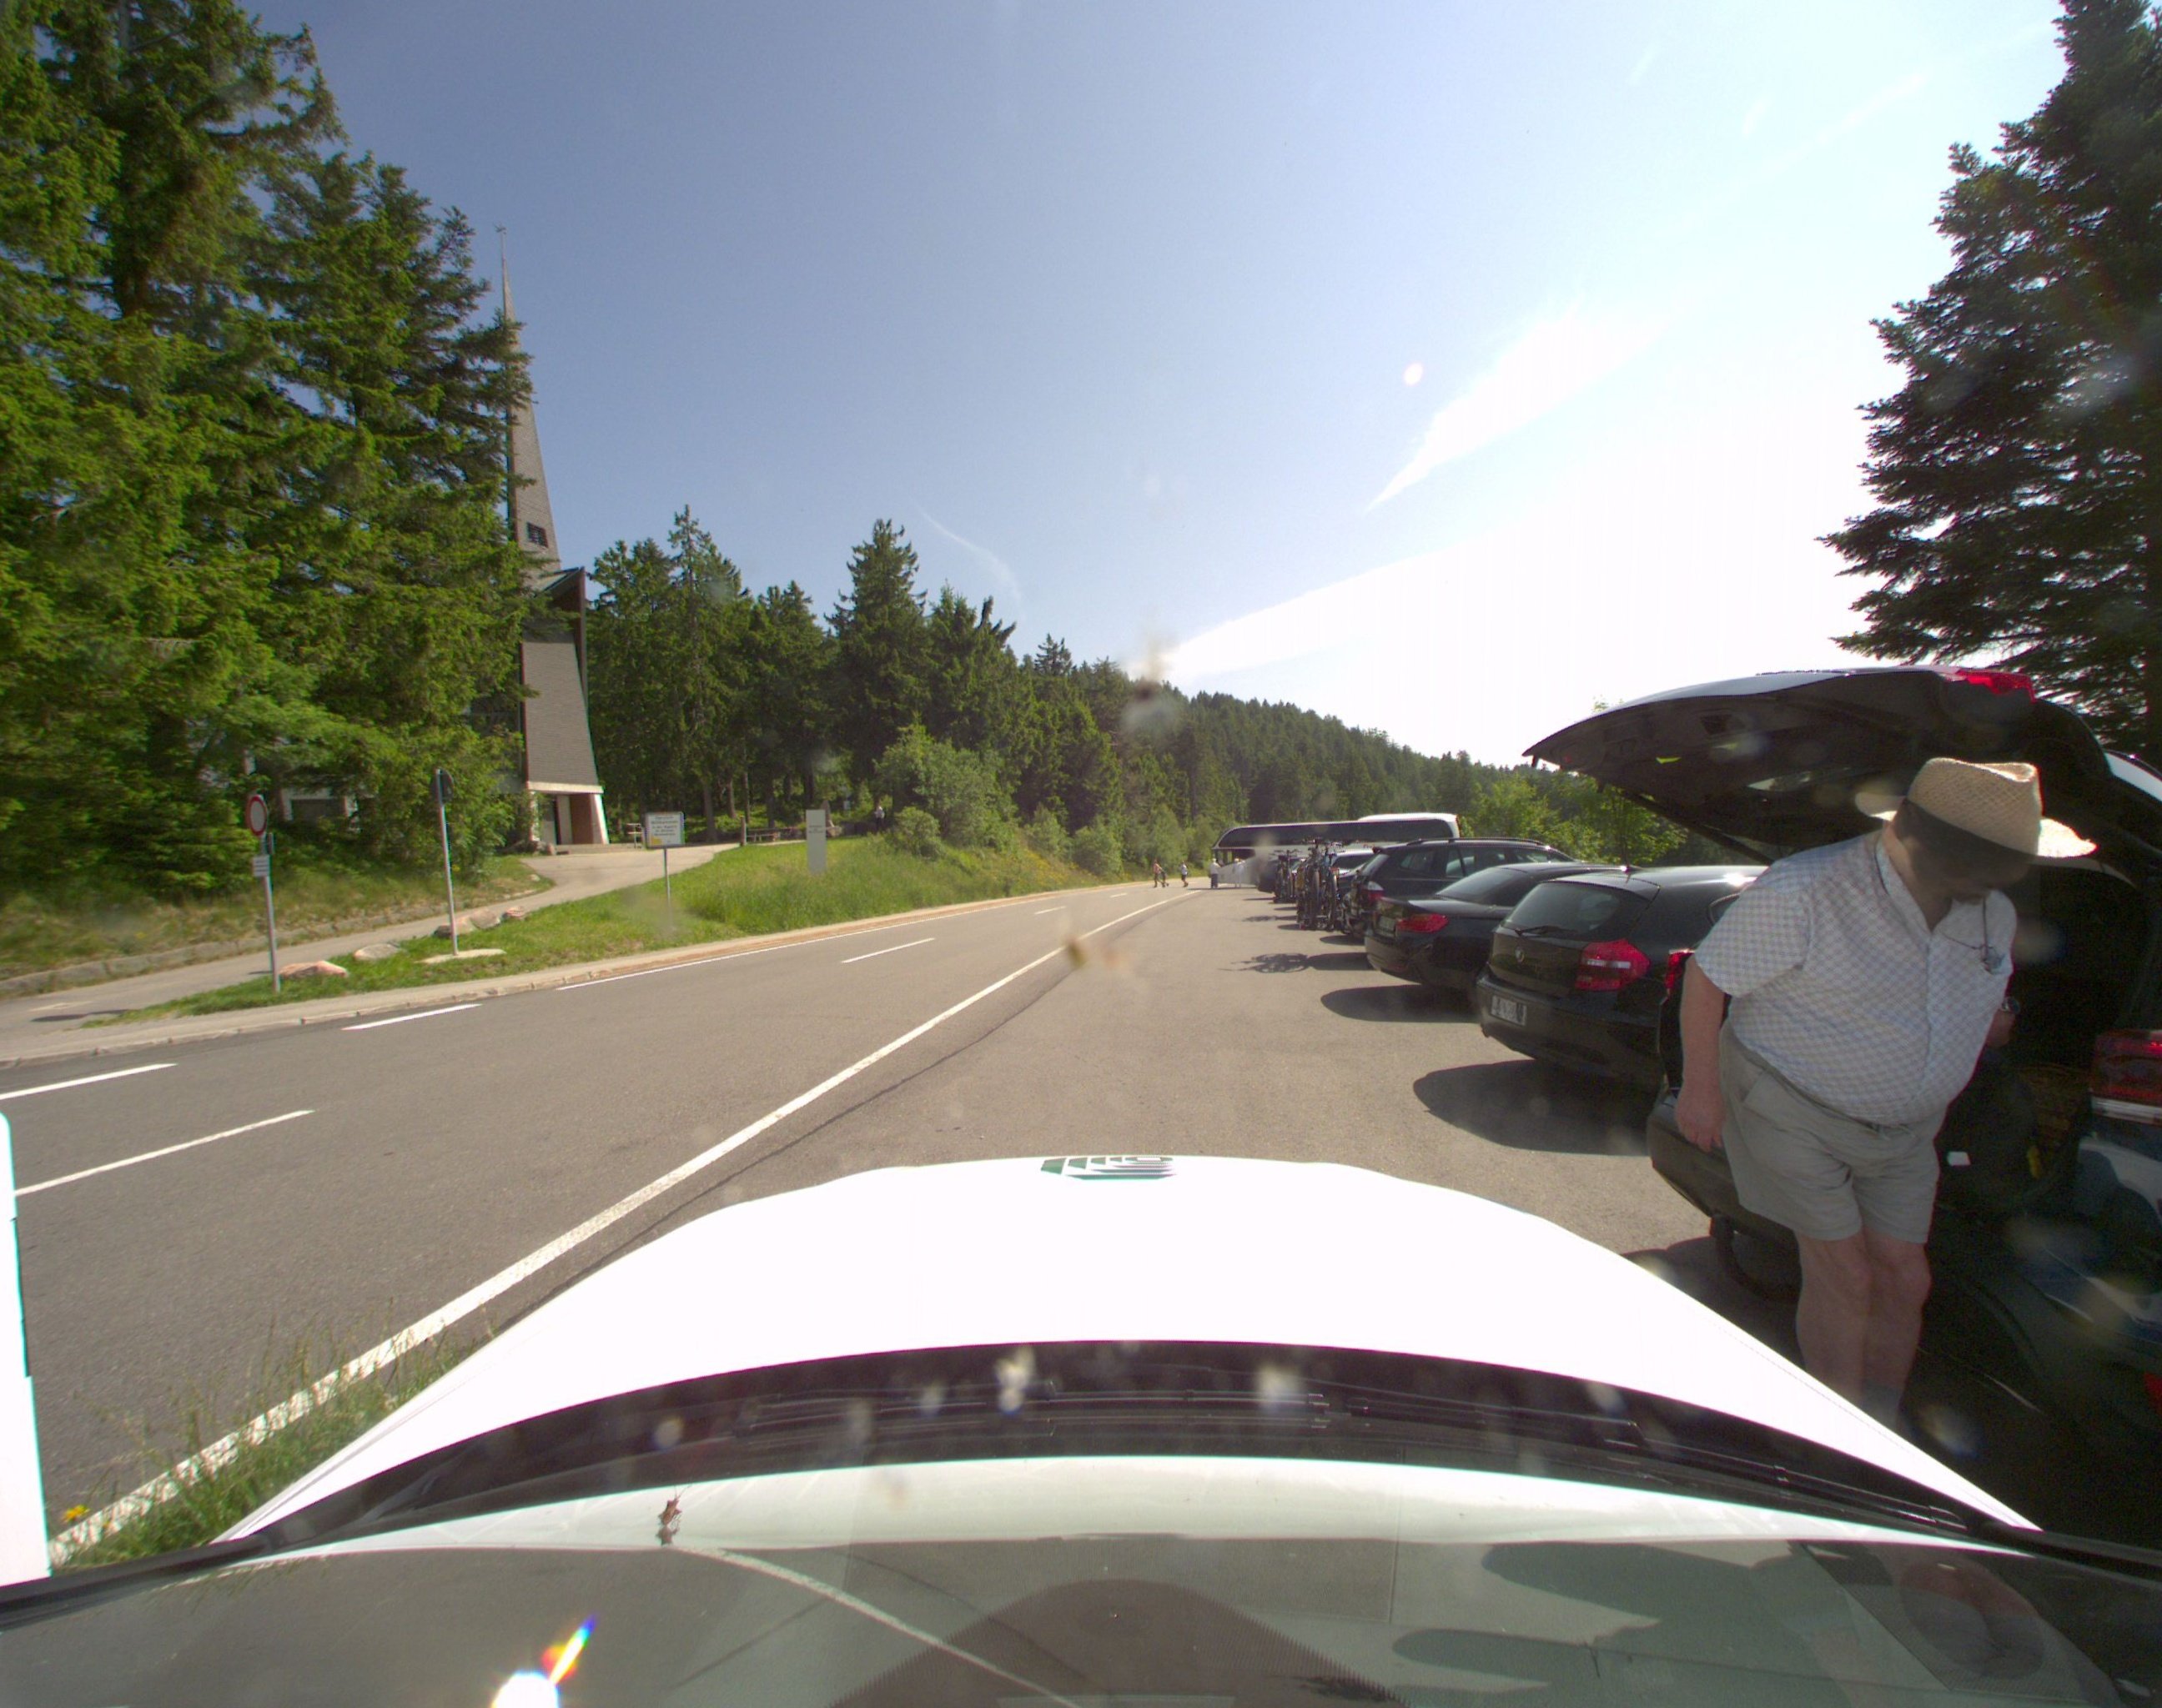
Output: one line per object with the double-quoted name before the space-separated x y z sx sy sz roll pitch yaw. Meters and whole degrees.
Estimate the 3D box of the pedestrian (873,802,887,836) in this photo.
"pedestrian" -11.560 -1.997 46.792 0.682 1.878 0.539 -3 -1 -15

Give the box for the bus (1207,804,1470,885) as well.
"bus" 13.698 -0.405 44.151 12.983 3.532 3.059 -3 -1 20

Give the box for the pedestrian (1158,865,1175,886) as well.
"pedestrian" 5.276 1.325 50.428 0.736 1.279 0.778 -3 -1 -19

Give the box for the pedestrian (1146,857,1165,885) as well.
"pedestrian" 4.688 1.078 51.121 0.856 1.683 0.864 -3 -1 -18

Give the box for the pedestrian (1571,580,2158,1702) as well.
"pedestrian" 1.705 0.471 1.840 0.759 1.870 0.731 -2 2 -26

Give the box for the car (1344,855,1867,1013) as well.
"car" 4.890 0.720 8.082 4.063 1.376 1.704 0 -1 3

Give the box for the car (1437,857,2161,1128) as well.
"car" 4.605 0.718 5.044 4.067 1.376 1.702 0 -1 0

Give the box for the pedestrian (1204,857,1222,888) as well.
"pedestrian" 7.121 0.996 43.874 0.764 1.585 0.776 -3 -1 17

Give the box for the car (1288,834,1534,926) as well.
"car" 6.431 0.514 16.336 4.217 1.554 1.843 -3 -1 10

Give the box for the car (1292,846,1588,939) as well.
"car" 5.818 0.633 13.727 4.217 1.269 1.843 -3 -1 10

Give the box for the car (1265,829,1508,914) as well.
"car" 6.967 0.417 19.162 5.003 1.651 2.053 -3 -1 10

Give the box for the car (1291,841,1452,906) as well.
"car" 7.996 0.530 22.743 3.962 1.554 1.664 -3 -1 10

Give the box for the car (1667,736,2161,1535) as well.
"car" 4.422 0.610 2.171 4.324 1.626 1.872 1 -1 4

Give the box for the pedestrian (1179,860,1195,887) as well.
"pedestrian" 6.460 1.168 49.604 0.849 1.585 0.819 -3 -1 5

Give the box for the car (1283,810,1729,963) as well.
"car" 5.312 0.442 10.944 4.916 1.695 1.951 -3 -1 12

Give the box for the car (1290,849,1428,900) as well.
"car" 8.866 0.654 26.228 3.962 1.398 1.624 -3 -1 10

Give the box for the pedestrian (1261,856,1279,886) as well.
"pedestrian" 10.102 0.895 43.518 0.764 1.585 0.776 -3 -1 18

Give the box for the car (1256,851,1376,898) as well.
"car" 8.427 0.718 29.514 3.962 1.449 1.866 -3 -1 10

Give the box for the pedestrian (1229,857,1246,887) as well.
"pedestrian" 8.388 0.968 43.596 0.764 1.585 0.776 -3 -1 17
